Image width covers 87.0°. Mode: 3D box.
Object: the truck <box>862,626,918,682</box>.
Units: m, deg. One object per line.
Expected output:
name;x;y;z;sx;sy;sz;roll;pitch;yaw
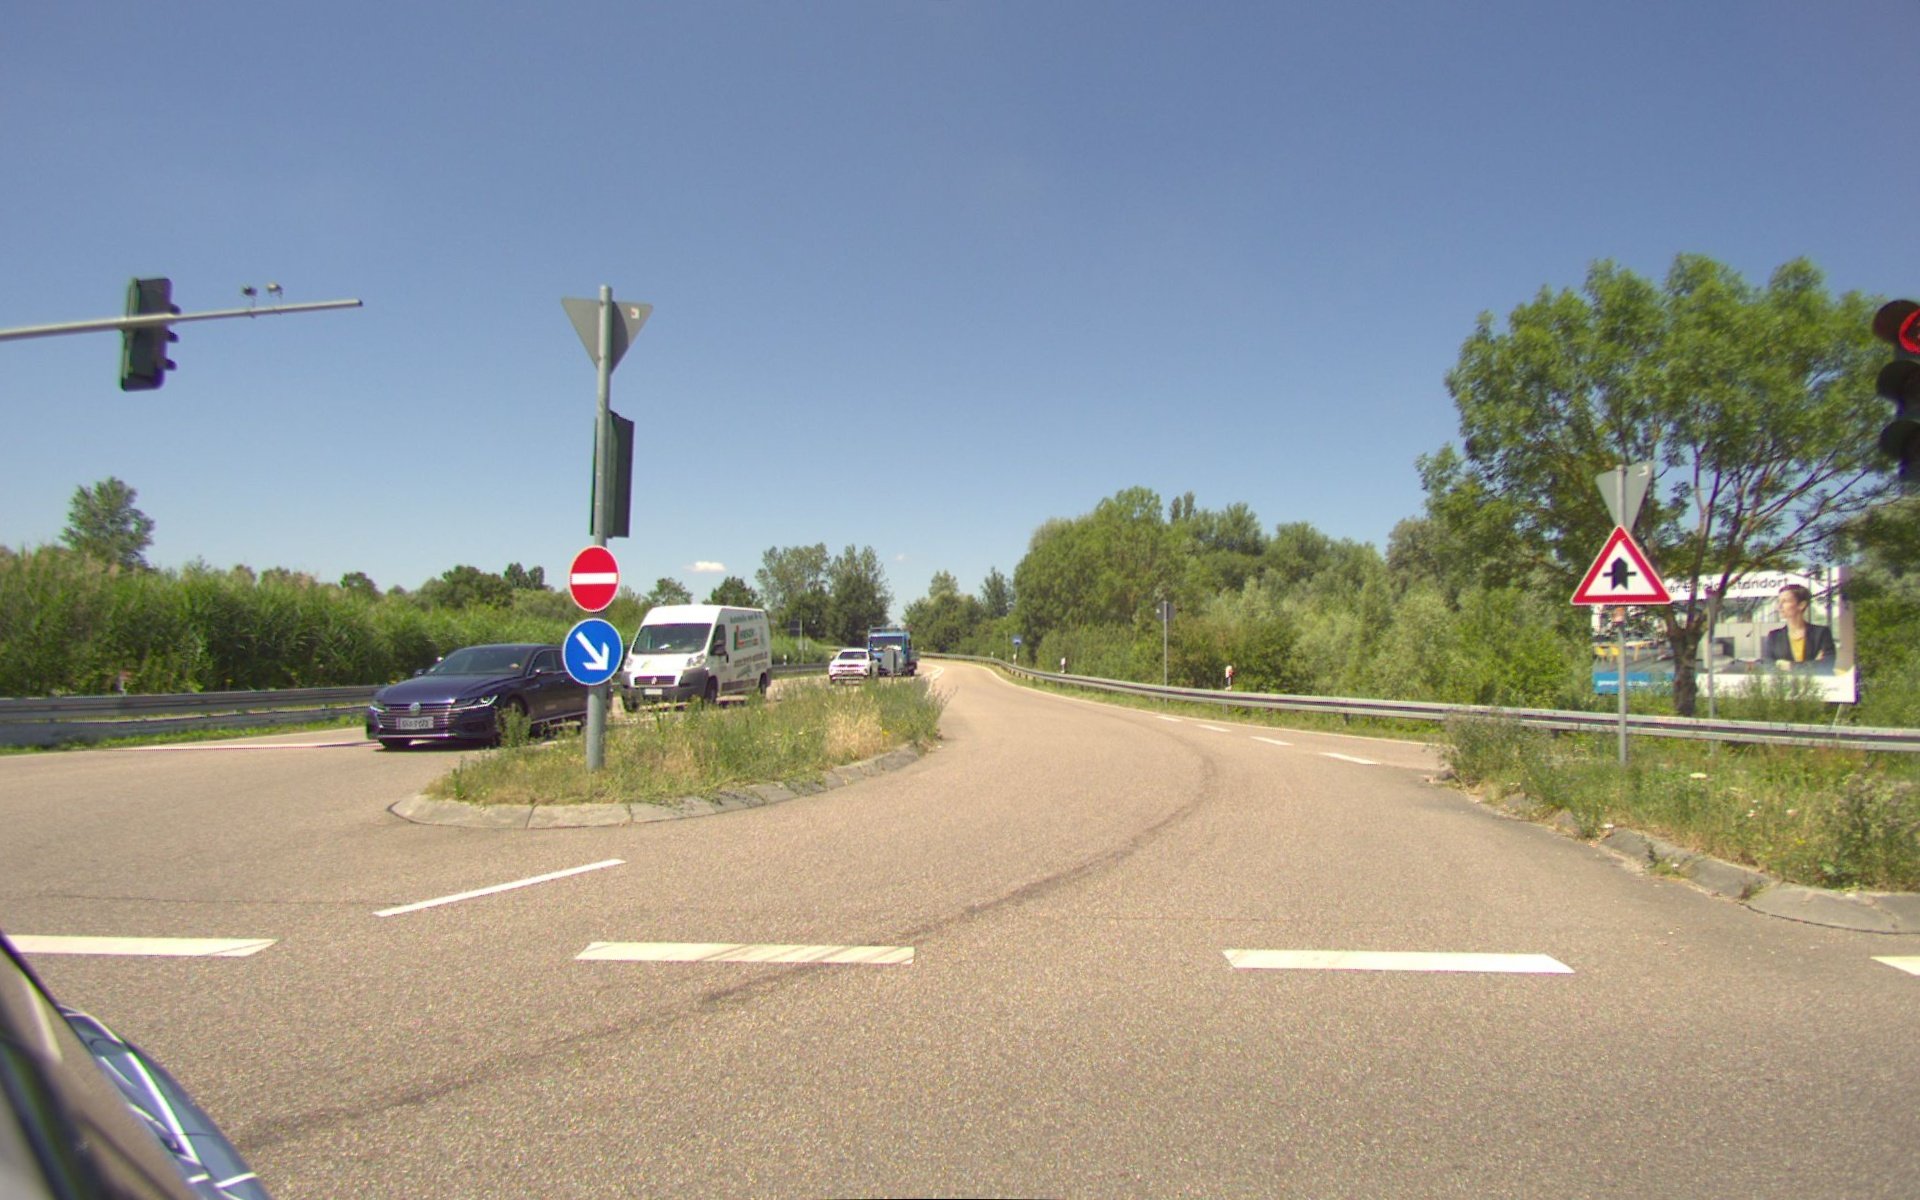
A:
truck;-4.210;3.404;62.986;2.659;3.220;9.171;0;-4;1

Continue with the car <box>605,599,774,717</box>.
car;-6.394;1.449;24.846;2.201;2.514;5.974;-1;-4;4

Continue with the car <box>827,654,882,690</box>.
car;-4.505;3.084;43.615;1.699;1.446;3.954;0;-4;4

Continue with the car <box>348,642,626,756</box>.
car;-6.792;1.402;15.190;1.824;1.434;4.557;-1;-4;3
